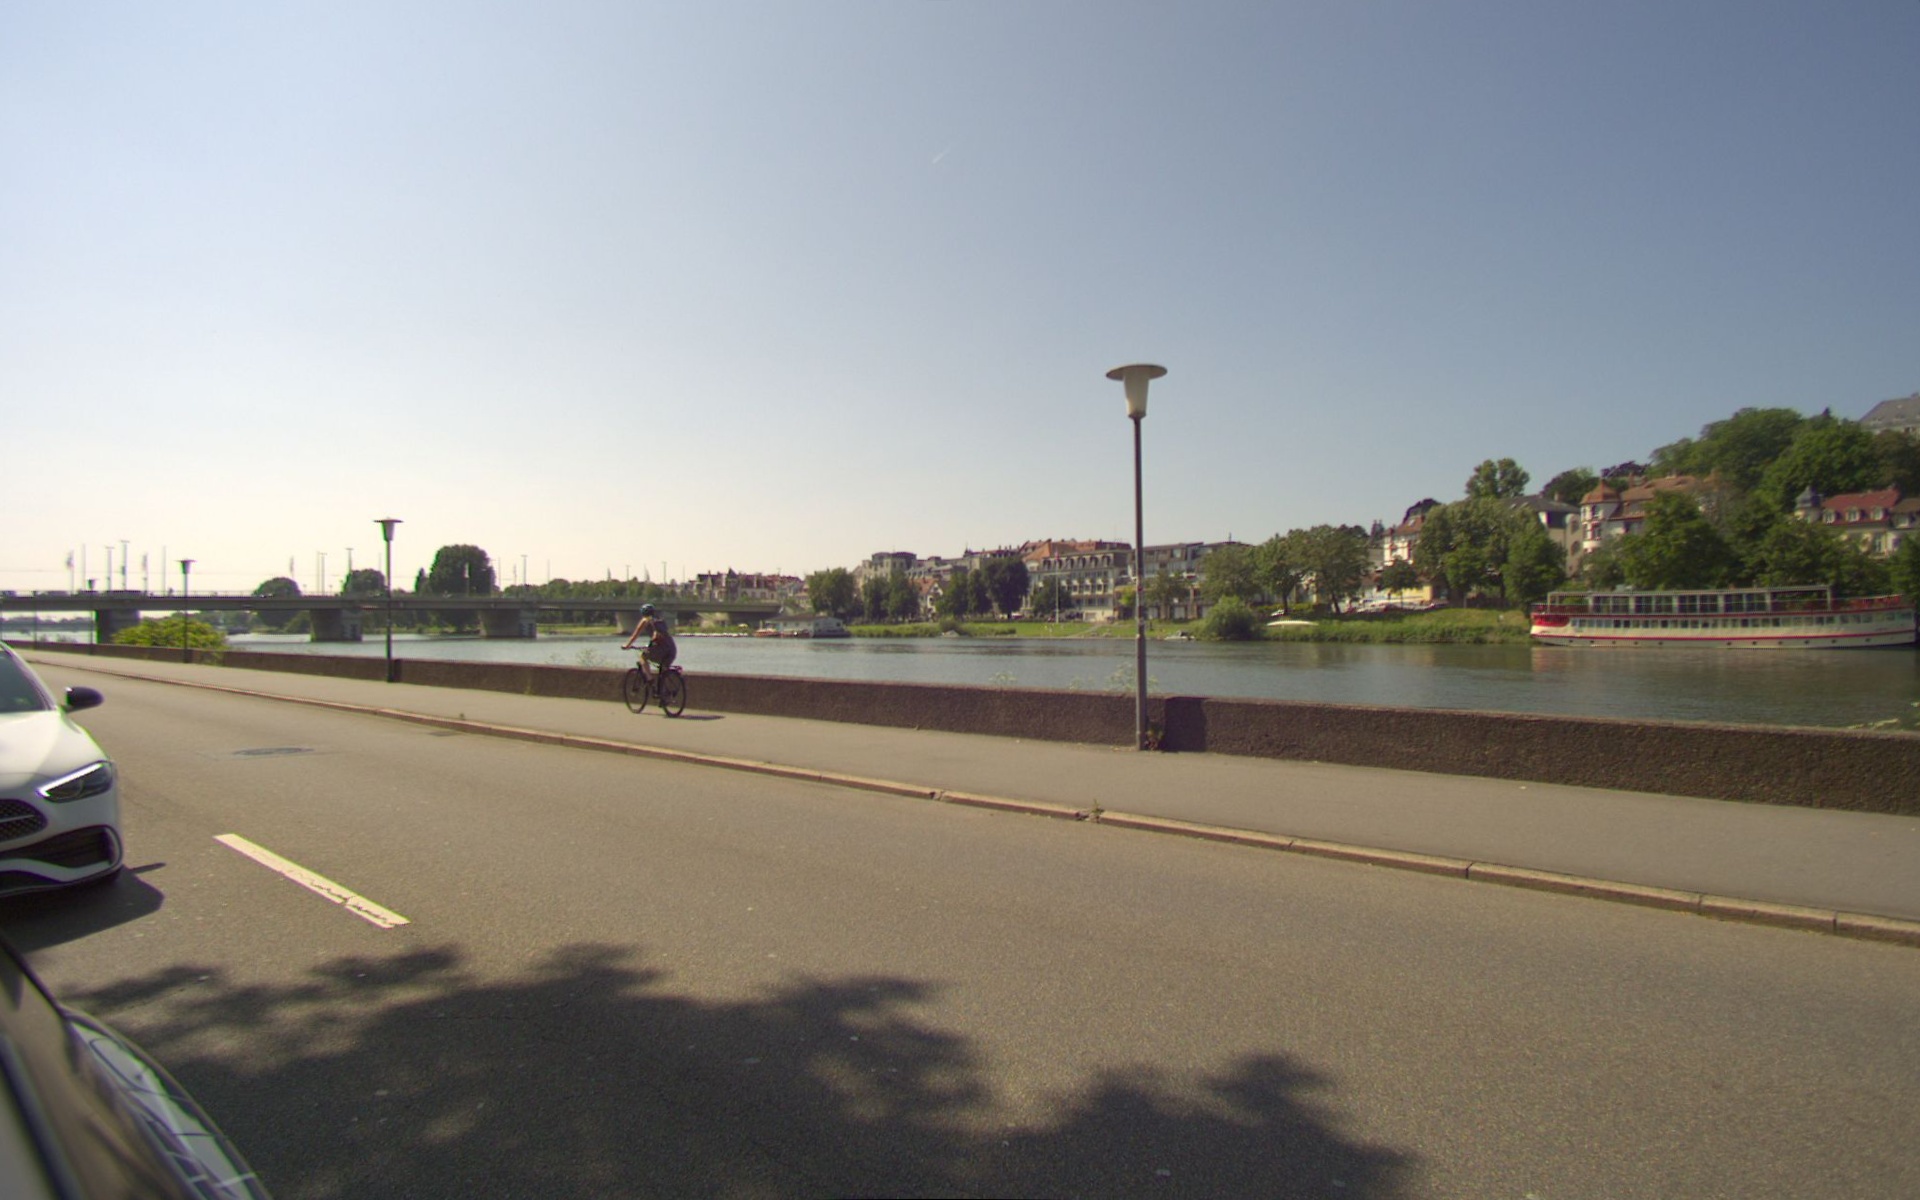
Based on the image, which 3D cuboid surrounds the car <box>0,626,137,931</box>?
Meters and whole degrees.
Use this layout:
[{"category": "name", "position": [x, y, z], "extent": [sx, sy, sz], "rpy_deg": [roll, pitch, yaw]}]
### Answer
[{"category": "car", "position": [-6.523, 0.920, 6.041], "extent": [4.551, 1.430, 1.806], "rpy_deg": [-2, -1, 42]}]

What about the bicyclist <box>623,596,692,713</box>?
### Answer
[{"category": "bicyclist", "position": [-4.548, 0.800, 15.191], "extent": [0.870, 1.686, 0.631], "rpy_deg": [-2, -2, 41]}]

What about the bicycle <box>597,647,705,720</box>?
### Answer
[{"category": "bicycle", "position": [-4.709, 1.237, 15.347], "extent": [1.984, 1.019, 0.626], "rpy_deg": [-2, -2, 41]}]
